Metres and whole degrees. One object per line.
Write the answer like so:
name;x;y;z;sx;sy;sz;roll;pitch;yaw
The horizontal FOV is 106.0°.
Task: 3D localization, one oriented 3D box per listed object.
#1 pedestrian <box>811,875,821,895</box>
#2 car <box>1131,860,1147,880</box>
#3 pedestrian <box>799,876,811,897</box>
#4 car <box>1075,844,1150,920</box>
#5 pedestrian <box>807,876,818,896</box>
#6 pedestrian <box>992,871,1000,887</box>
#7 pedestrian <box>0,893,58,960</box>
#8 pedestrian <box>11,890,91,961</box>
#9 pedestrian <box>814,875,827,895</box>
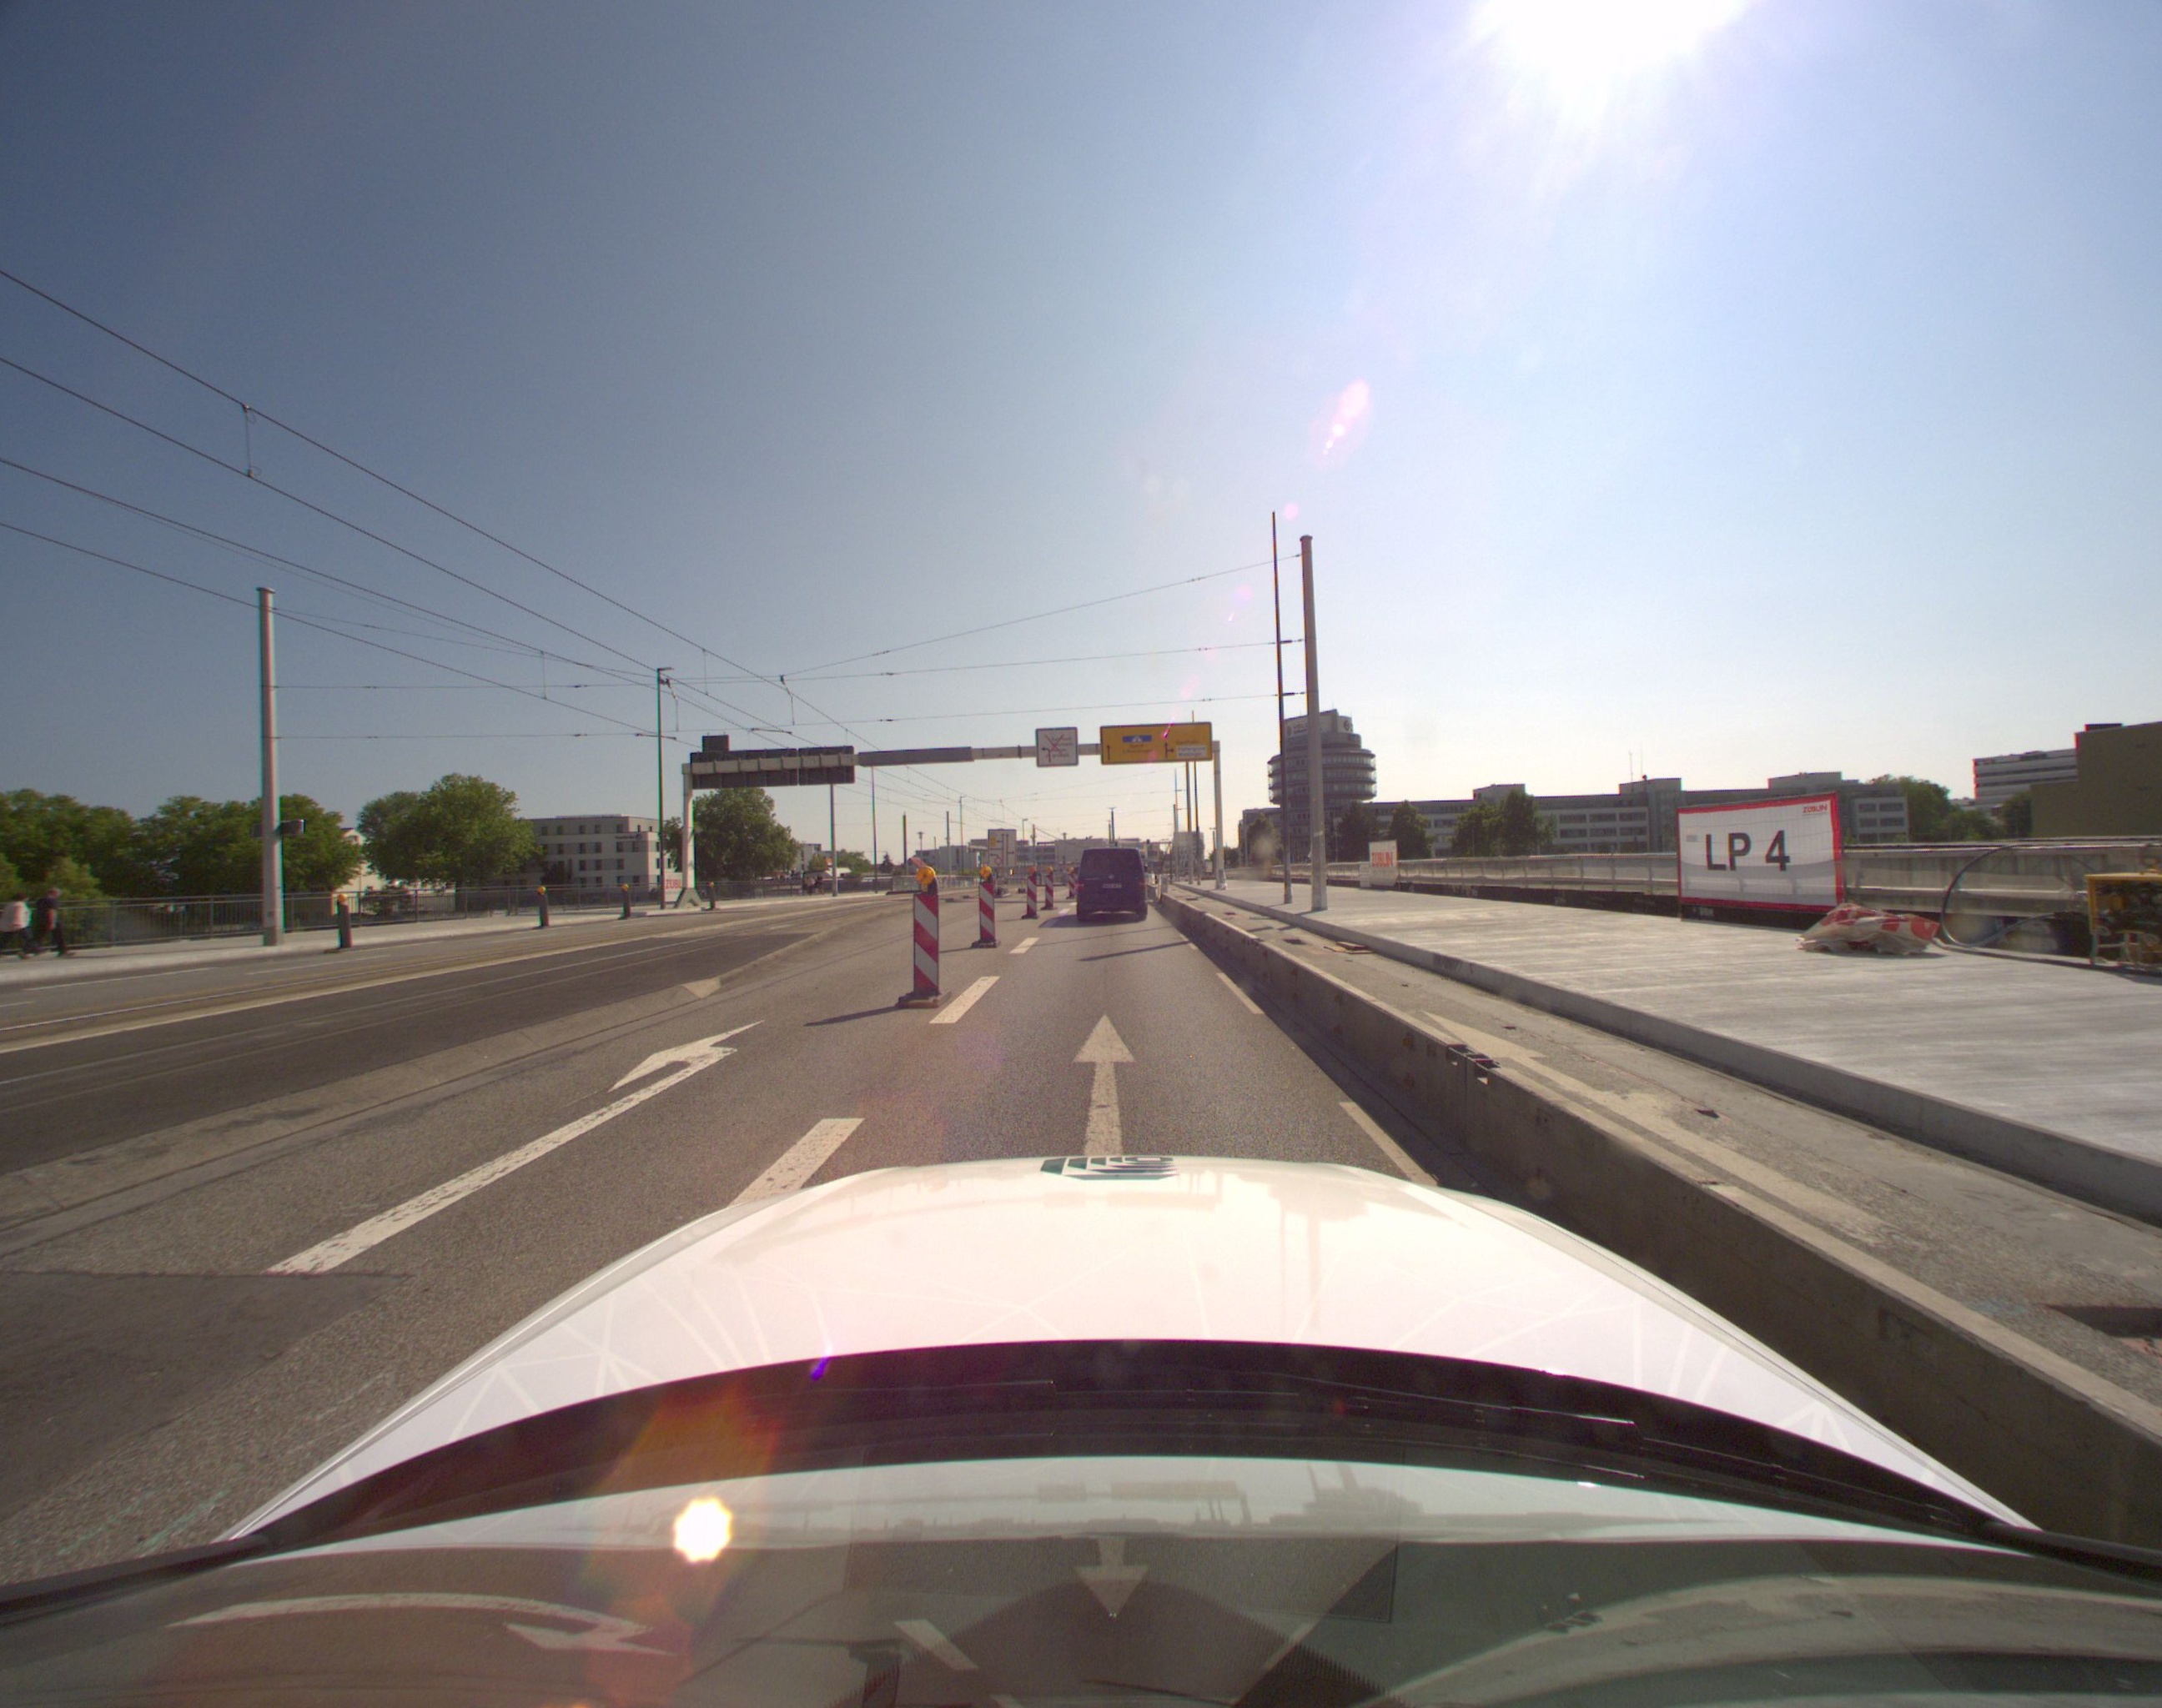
pedestrian;-22.975;2.668;70.602;0.501;1.687;0.774;-2;-1;5
car;8.850;2.430;123.914;2.327;2.887;5.980;-1;-1;6
pedestrian;-22.984;2.668;67.750;0.594;1.687;0.819;-2;-1;5
car;0.857;0.753;22.831;1.881;1.934;4.001;0;-1;1
pedestrian;-22.371;2.654;67.817;0.483;1.687;0.809;-2;-1;5
pedestrian;-9.265;2.742;88.851;0.655;1.654;0.742;-2;-2;16
pedestrian;-25.701;1.729;19.700;0.717;1.544;0.889;0;-1;1
pedestrian;-24.861;1.700;19.681;0.741;1.642;0.895;0;-1;1
pedestrian;-22.271;2.669;69.588;0.749;1.687;0.733;-2;-1;5
